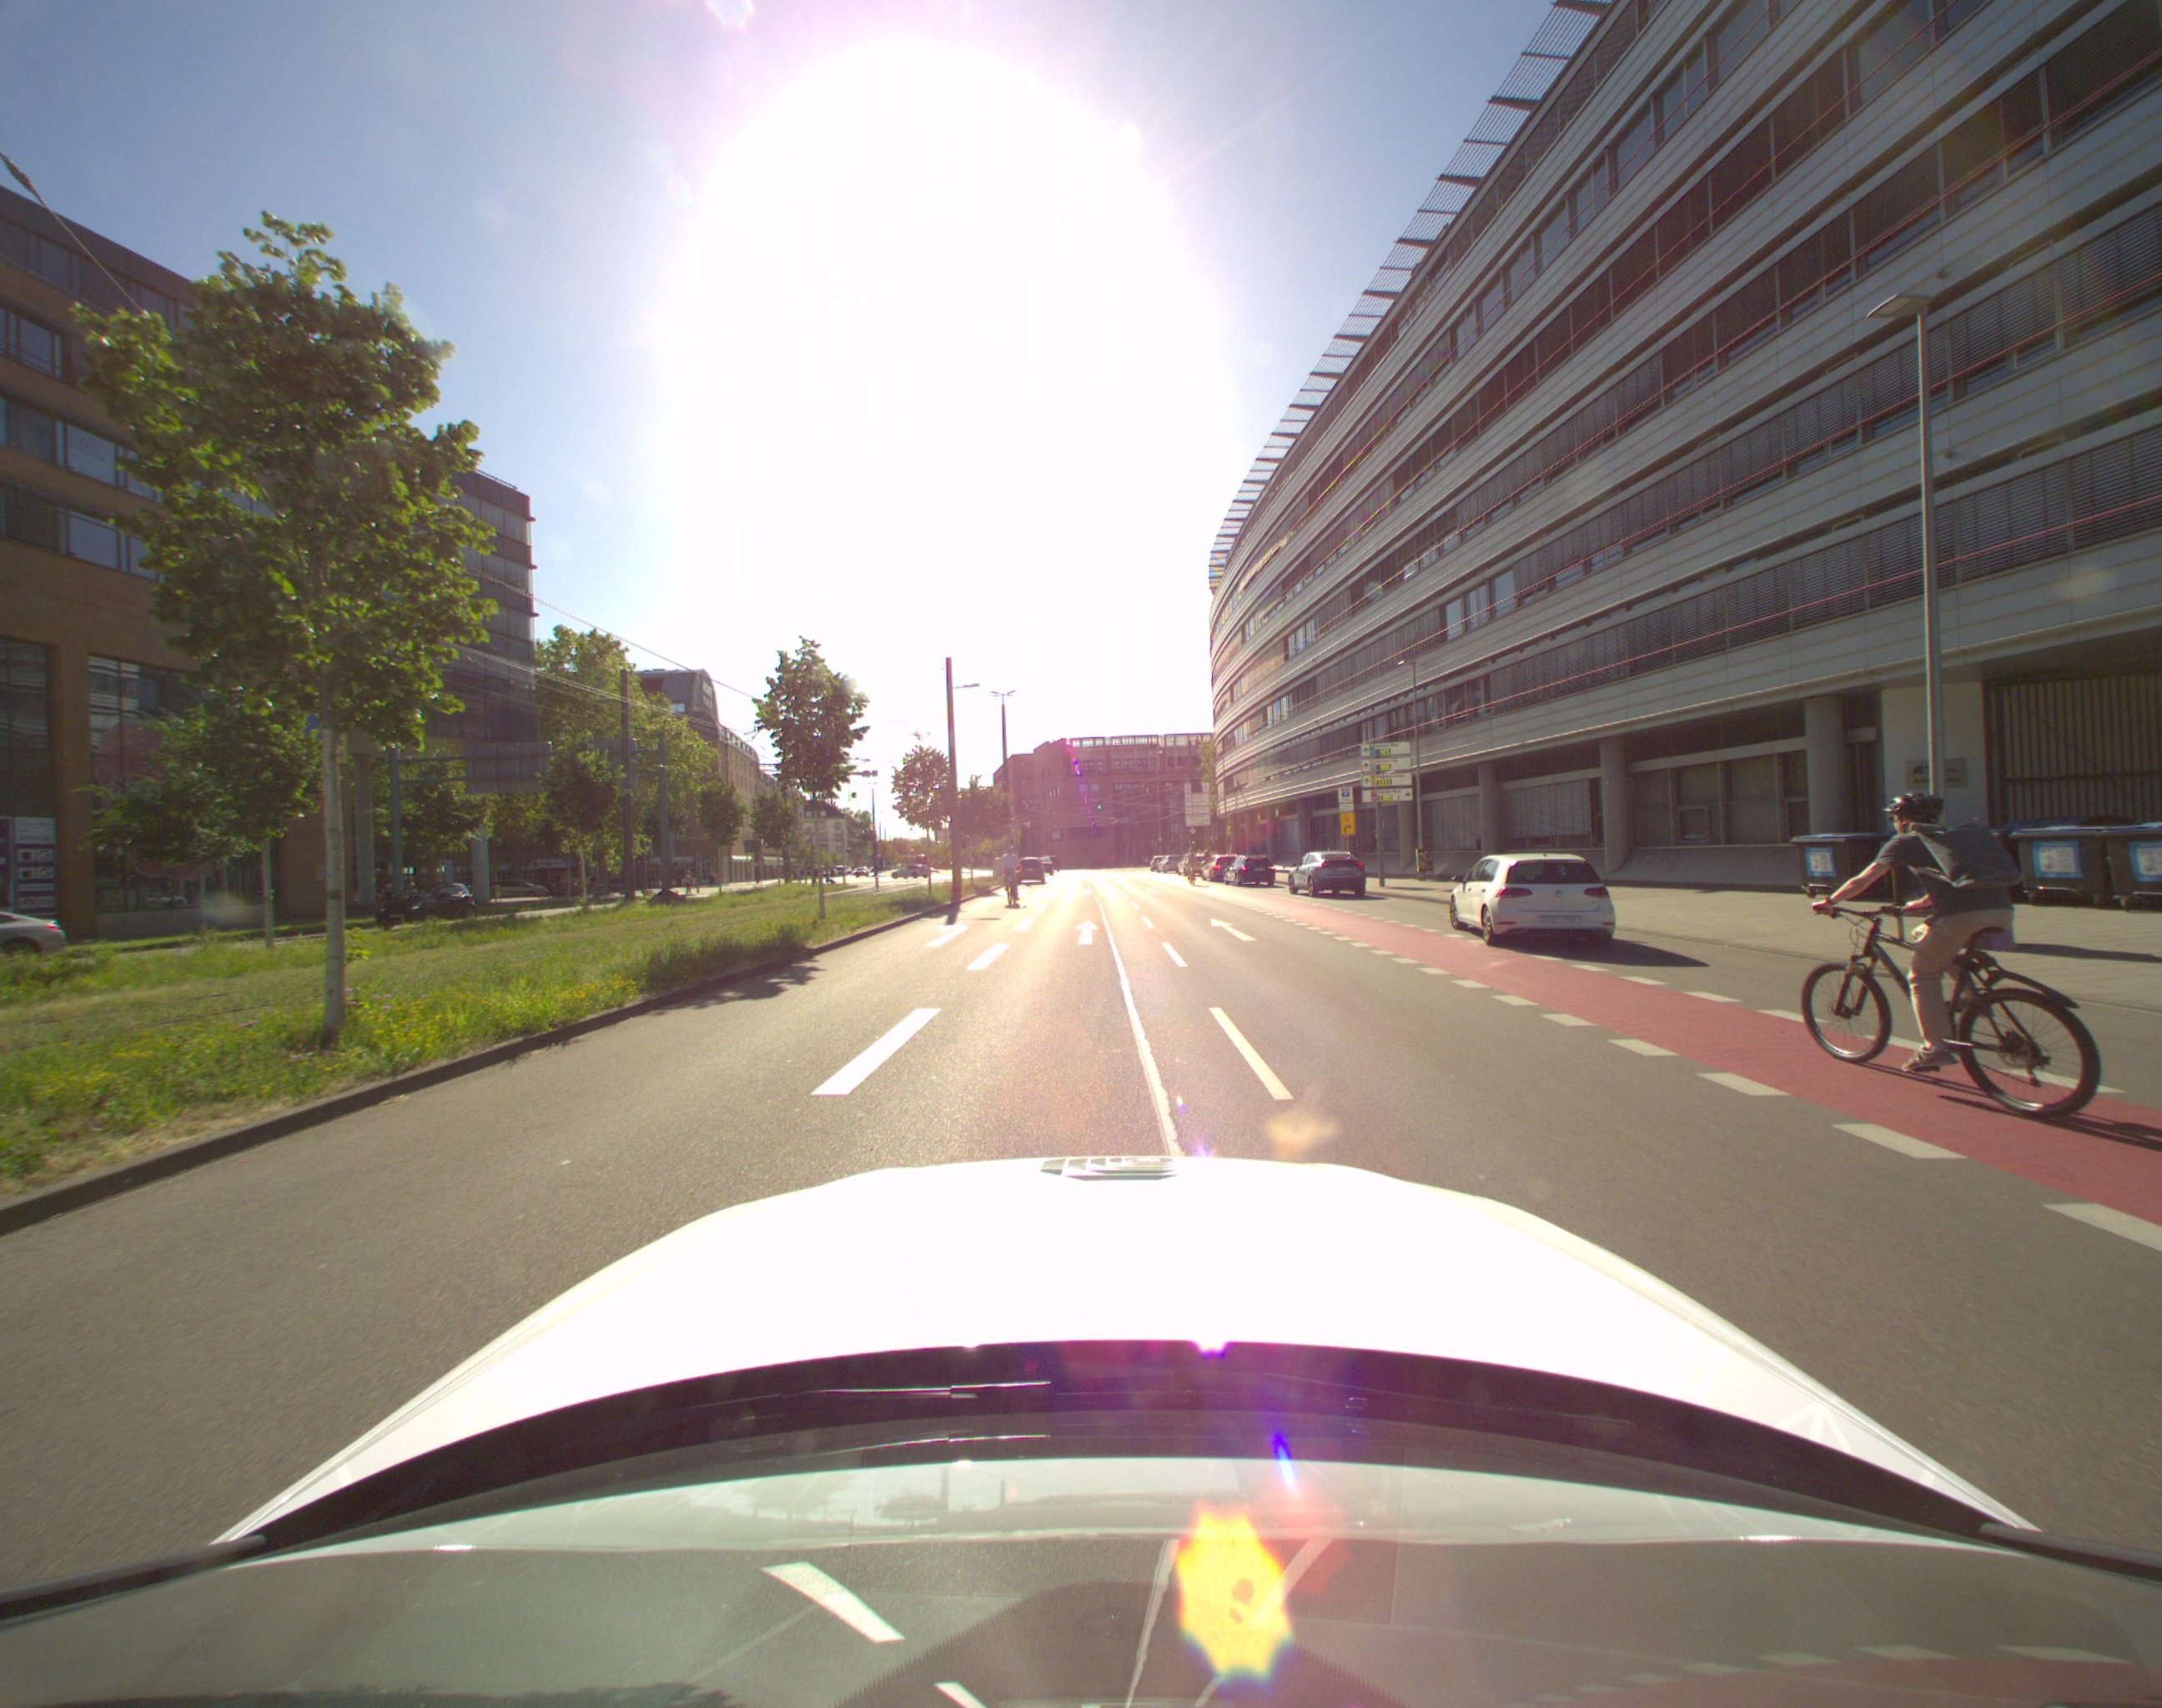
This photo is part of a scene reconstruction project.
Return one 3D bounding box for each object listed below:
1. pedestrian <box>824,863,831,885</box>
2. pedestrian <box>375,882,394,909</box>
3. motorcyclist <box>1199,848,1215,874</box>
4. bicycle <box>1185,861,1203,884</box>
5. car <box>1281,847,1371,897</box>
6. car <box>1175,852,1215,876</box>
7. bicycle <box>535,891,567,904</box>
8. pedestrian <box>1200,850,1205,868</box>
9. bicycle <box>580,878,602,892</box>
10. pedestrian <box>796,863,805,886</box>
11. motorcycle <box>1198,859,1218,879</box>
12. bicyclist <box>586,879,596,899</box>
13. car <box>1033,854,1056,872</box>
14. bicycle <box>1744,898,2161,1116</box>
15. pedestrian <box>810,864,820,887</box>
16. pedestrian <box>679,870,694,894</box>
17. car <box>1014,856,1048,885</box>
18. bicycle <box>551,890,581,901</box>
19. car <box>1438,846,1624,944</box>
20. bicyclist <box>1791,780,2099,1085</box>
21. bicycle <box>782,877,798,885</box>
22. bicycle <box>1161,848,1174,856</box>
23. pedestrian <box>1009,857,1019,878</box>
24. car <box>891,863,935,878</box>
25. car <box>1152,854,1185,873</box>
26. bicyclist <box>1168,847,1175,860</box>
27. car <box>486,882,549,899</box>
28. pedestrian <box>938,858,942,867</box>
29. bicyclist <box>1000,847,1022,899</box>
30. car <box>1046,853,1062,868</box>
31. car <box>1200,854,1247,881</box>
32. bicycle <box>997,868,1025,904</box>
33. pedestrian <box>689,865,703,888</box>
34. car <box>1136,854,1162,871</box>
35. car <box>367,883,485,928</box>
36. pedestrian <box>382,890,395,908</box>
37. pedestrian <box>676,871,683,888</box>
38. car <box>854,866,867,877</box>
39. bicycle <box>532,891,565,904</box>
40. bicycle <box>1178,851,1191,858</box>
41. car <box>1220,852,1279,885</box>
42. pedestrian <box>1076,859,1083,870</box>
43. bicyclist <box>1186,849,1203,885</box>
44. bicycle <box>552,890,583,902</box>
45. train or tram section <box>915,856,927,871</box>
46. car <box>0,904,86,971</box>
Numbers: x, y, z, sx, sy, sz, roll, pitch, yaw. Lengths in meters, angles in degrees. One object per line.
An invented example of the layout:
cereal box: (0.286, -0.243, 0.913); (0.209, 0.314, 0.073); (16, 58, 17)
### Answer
pedestrian: (-21.342, 1.689, 68.626); (0.388, 1.831, 0.459); (-2, 0, -33)
pedestrian: (-42.590, 2.549, 49.816); (0.505, 1.624, 0.787); (-2, -2, -1)
motorcyclist: (7.874, 0.442, 50.996); (0.826, 1.561, 0.941); (-1, -1, -2)
bicycle: (5.749, 0.931, 41.382); (0.647, 1.110, 1.758); (-2, 1, 1)
car: (8.396, 0.590, 28.315); (1.716, 1.524, 4.397); (-2, 0, -1)
car: (7.936, 0.668, 57.207); (1.903, 1.583, 4.130); (-1, 0, -5)
bicycle: (-40.140, 3.290, 61.694); (2.025, 0.799, 0.374); (-2, -1, -11)
pedestrian: (11.517, 0.472, 77.196); (0.425, 1.645, 0.564); (-4, 0, 10)
bicycle: (-32.760, 2.045, 54.452); (0.352, 0.926, 1.893); (-2, -2, -2)
pedestrian: (-22.357, 1.640, 64.883); (0.464, 1.831, 0.453); (-2, -1, -39)
motorcycle: (7.927, 0.923, 50.829); (0.826, 1.201, 2.389); (-1, -1, -1)
bicyclist: (-32.741, 2.334, 54.432); (0.339, 1.377, 0.481); (-2, -2, -2)
car: (-3.140, 0.753, 69.422); (1.723, 1.449, 4.514); (-2, 0, -4)
bicycle: (5.369, 0.853, 5.210); (0.822, 1.037, 1.894); (-1, 0, 5)
pedestrian: (-21.593, 1.729, 66.132); (0.585, 1.831, 0.492); (-2, -1, -39)
pedestrian: (-31.164, 2.229, 64.317); (0.757, 1.831, 0.625); (-2, 0, 4)
car: (-2.925, 0.957, 48.095); (1.721, 1.564, 3.676); (-3, 0, -1)
bicycle: (-41.222, 3.335, 65.167); (2.025, 0.799, 0.374); (-2, -1, -11)
car: (7.400, 0.591, 13.876); (1.760, 1.403, 4.310); (0, 0, 15)
bicyclist: (5.278, 0.439, 5.075); (0.803, 1.693, 1.052); (-1, 0, 5)
bicycle: (-50.184, 4.639, 140.350); (2.479, 1.310, 0.732); (-2, -1, -4)
bicycle: (12.167, -0.303, 114.572); (1.675, 0.994, 0.668); (-3, -1, -21)
pedestrian: (-5.688, 1.141, 69.466); (0.670, 1.753, 0.765); (-2, 0, -14)
car: (-18.513, 1.817, 89.793); (4.356, 1.381, 2.080); (-3, -1, 29)
car: (7.106, 0.759, 66.573); (1.904, 1.541, 4.129); (-1, 0, -6)
bicyclist: (12.748, -0.053, 114.781); (0.608, 1.884, 0.646); (-2, -1, -20)
car: (-49.244, 3.176, 71.253); (3.977, 1.231, 1.998); (-2, 0, -3)
pedestrian: (-25.943, 1.566, 149.946); (0.539, 1.655, 0.703); (-2, -1, -16)
bicyclist: (-2.287, 0.605, 26.723); (0.616, 1.669, 1.019); (-1, 0, -1)
car: (-3.161, 0.751, 95.962); (1.778, 1.703, 4.132); (-1, 0, -4)
car: (7.949, 0.728, 45.815); (1.716, 1.396, 4.786); (-2, 0, 0)
bicycle: (-2.283, 1.036, 26.817); (0.684, 1.069, 2.696); (-1, 0, 0)
pedestrian: (-31.002, 1.833, 65.539); (0.757, 1.831, 0.626); (-2, 0, 8)
car: (6.494, 0.782, 77.801); (1.902, 1.583, 4.133); (-1, 0, -3)
car: (-23.344, 1.810, 29.172); (1.423, 1.359, 3.297); (-2, 0, 2)
pedestrian: (-49.597, 3.218, 58.345); (0.428, 1.293, 0.545); (-2, -1, -10)
pedestrian: (-46.934, 2.989, 95.203); (0.523, 1.932, 0.748); (-2, -1, -14)
car: (-34.555, 2.756, 127.747); (1.612, 1.398, 3.901); (-6, 1, -13)
bicycle: (-39.586, 3.229, 60.565); (2.025, 0.799, 0.374); (-2, -1, -11)
bicycle: (13.854, 0.098, 109.111); (1.670, 0.806, 0.670); (-3, -1, -13)
car: (8.054, 0.679, 39.232); (1.717, 1.422, 4.633); (-2, 0, -2)
pedestrian: (-0.233, 1.578, 121.711); (0.619, 1.563, 0.981); (-2, -1, -16)
bicyclist: (5.750, 0.627, 41.141); (0.647, 1.752, 1.045); (-2, 0, 0)
bicycle: (-40.459, 3.287, 64.193); (2.025, 0.799, 0.374); (-2, -1, -11)
train or tram section: (-34.761, 2.076, 177.580); (2.327, 3.003, 13.111); (-2, 0, -10)
car: (-23.796, 1.835, 16.215); (1.986, 1.334, 4.792); (-2, 0, 2)
